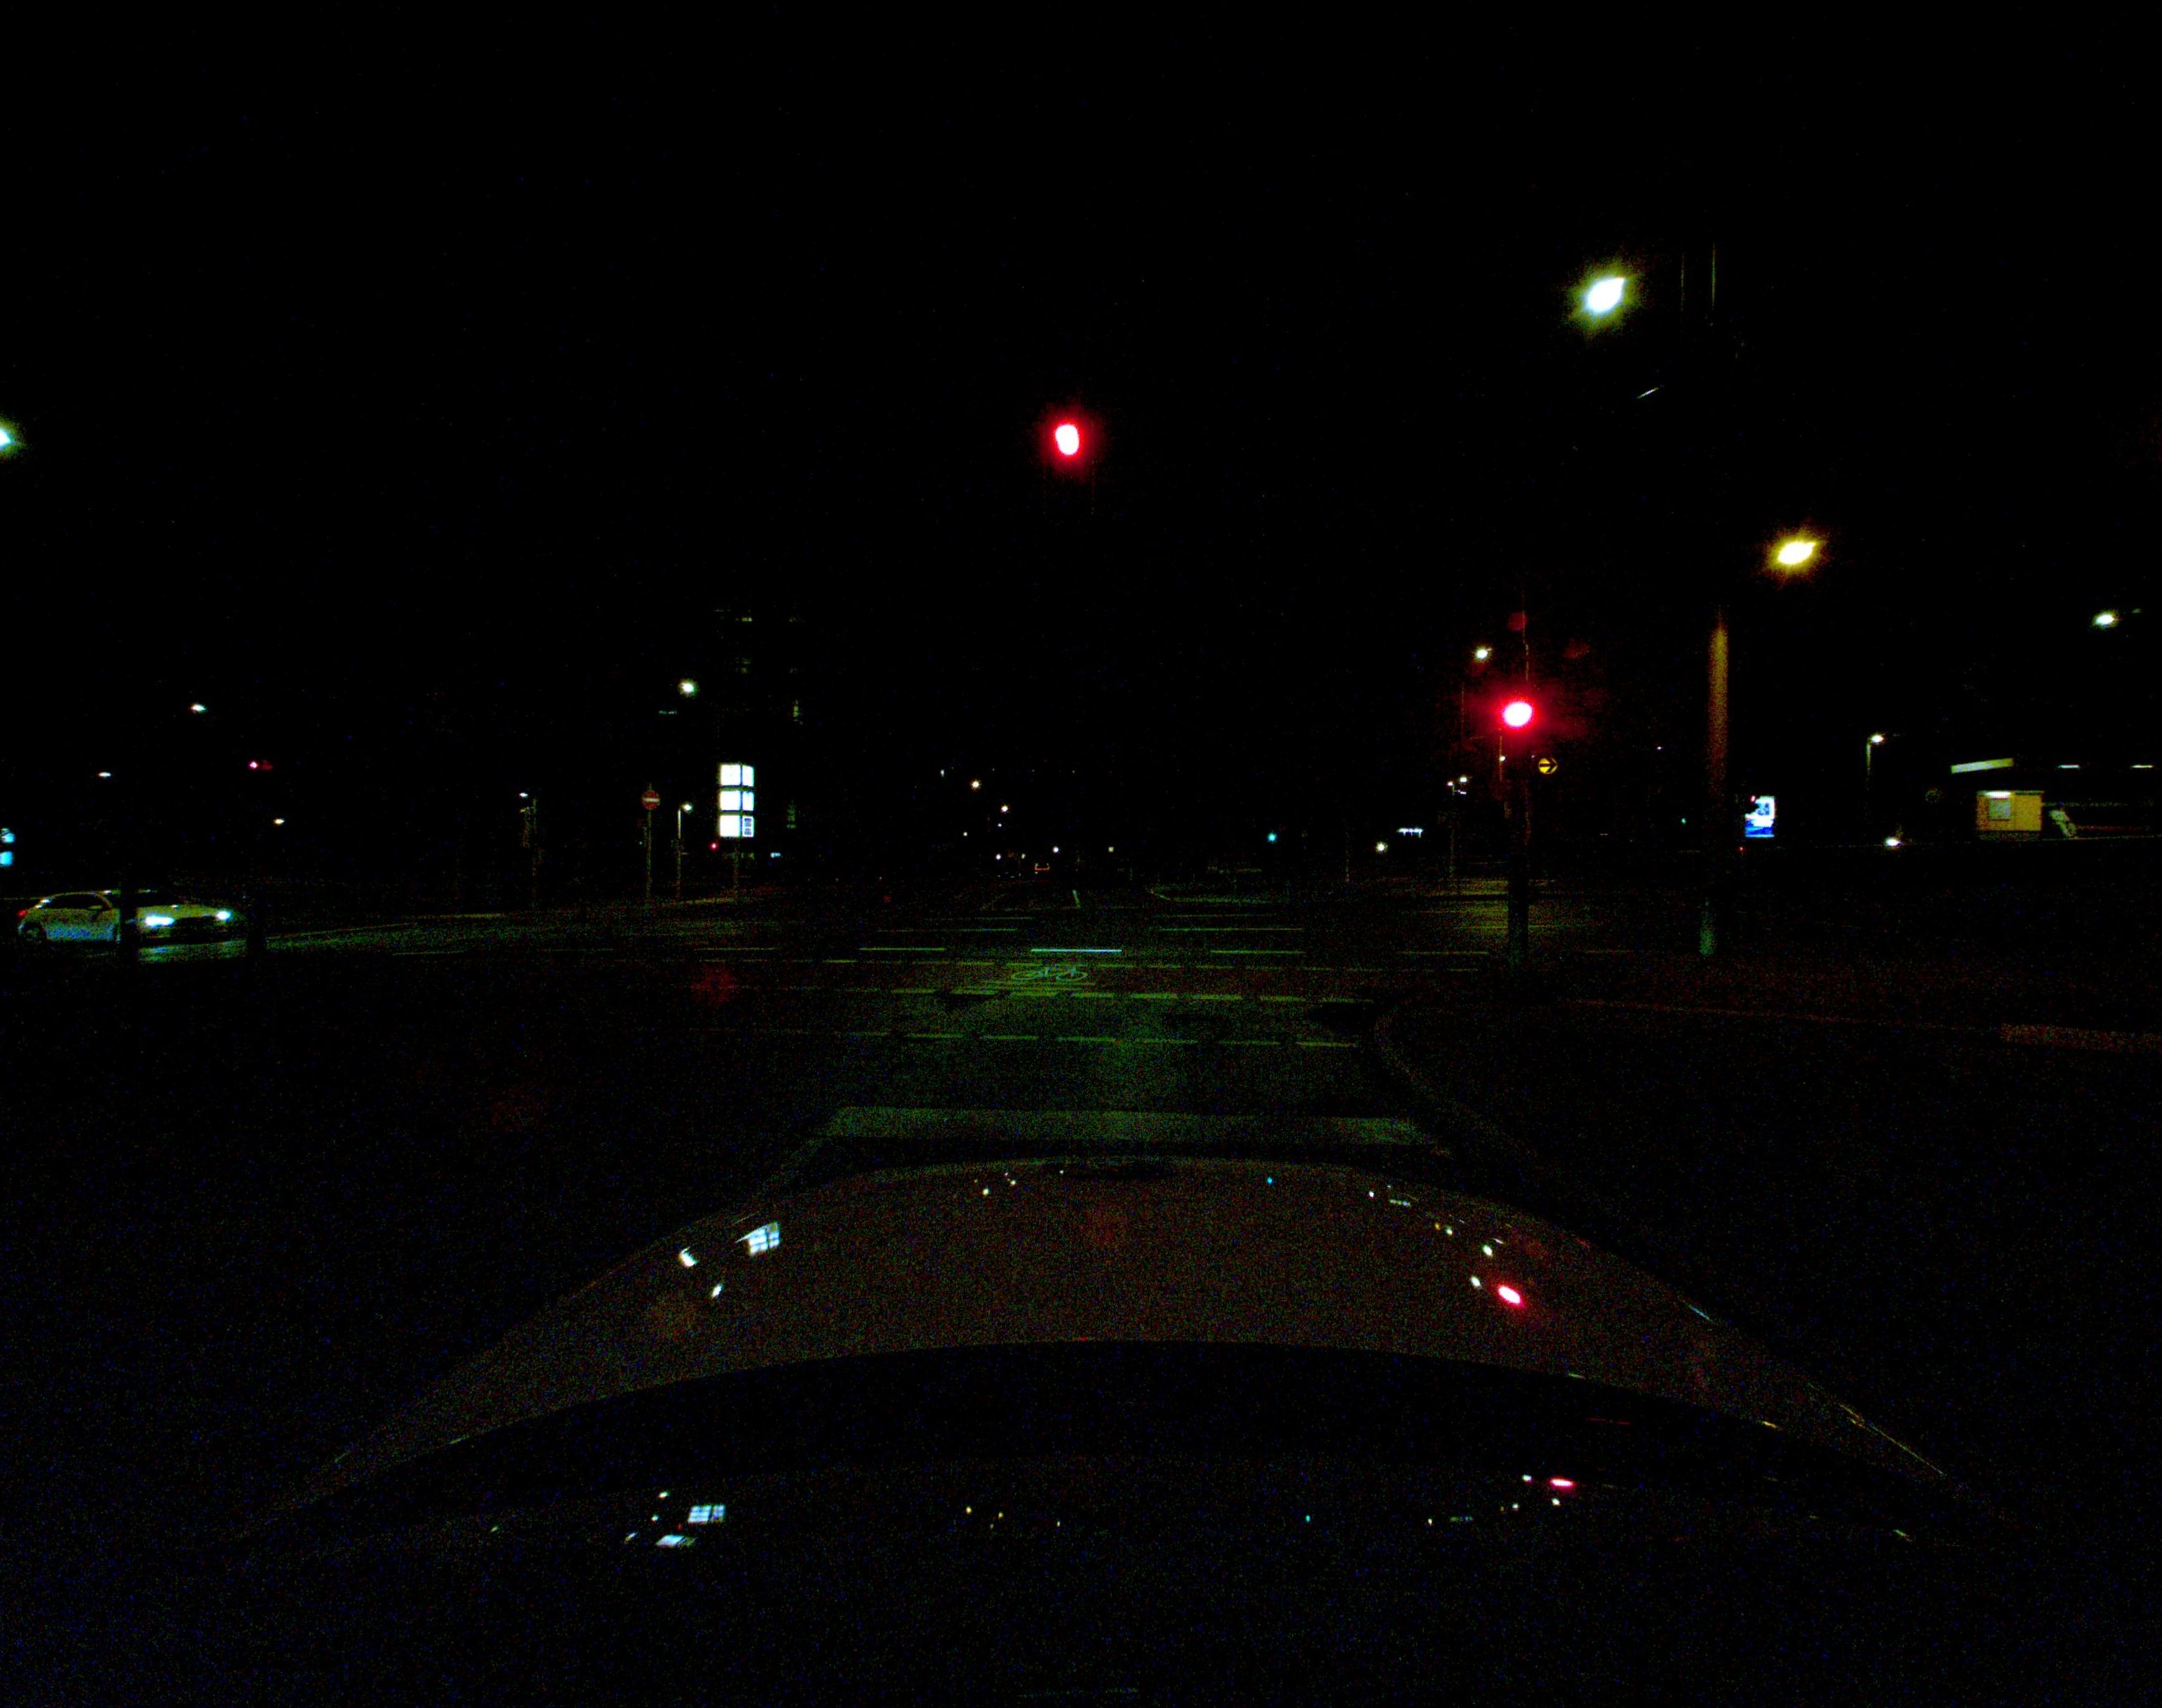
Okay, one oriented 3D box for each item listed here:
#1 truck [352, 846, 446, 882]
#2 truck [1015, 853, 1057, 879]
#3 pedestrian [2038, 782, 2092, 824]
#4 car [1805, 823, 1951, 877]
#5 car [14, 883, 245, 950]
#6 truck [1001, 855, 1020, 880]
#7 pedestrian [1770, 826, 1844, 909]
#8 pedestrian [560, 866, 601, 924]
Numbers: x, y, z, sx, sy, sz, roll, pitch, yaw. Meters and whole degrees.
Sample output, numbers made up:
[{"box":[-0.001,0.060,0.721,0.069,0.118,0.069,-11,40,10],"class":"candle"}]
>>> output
[{"box":[-59.697,0.873,71.371,5.873,3.088,2.915,0,-1,3],"class":"truck"},{"box":[-8.521,2.223,151.600,4.835,4.547,12.591,0,-1,-17],"class":"truck"},{"box":[38.348,-1.960,31.759,1.131,1.500,1.084,-3,-2,41],"class":"pedestrian"},{"box":[33.768,-0.136,34.632,3.966,2.014,2.003,-4,-1,6],"class":"car"},{"box":[-24.824,1.606,21.334,4.166,1.502,1.822,-2,0,5],"class":"car"},{"box":[-10.391,1.959,119.752,2.580,3.707,5.723,0,-1,-7],"class":"truck"},{"box":[15.931,0.292,17.884,0.752,1.745,0.834,-4,-2,1],"class":"pedestrian"},{"box":[-14.558,1.174,23.683,0.667,1.634,0.862,0,-1,-3],"class":"pedestrian"}]
